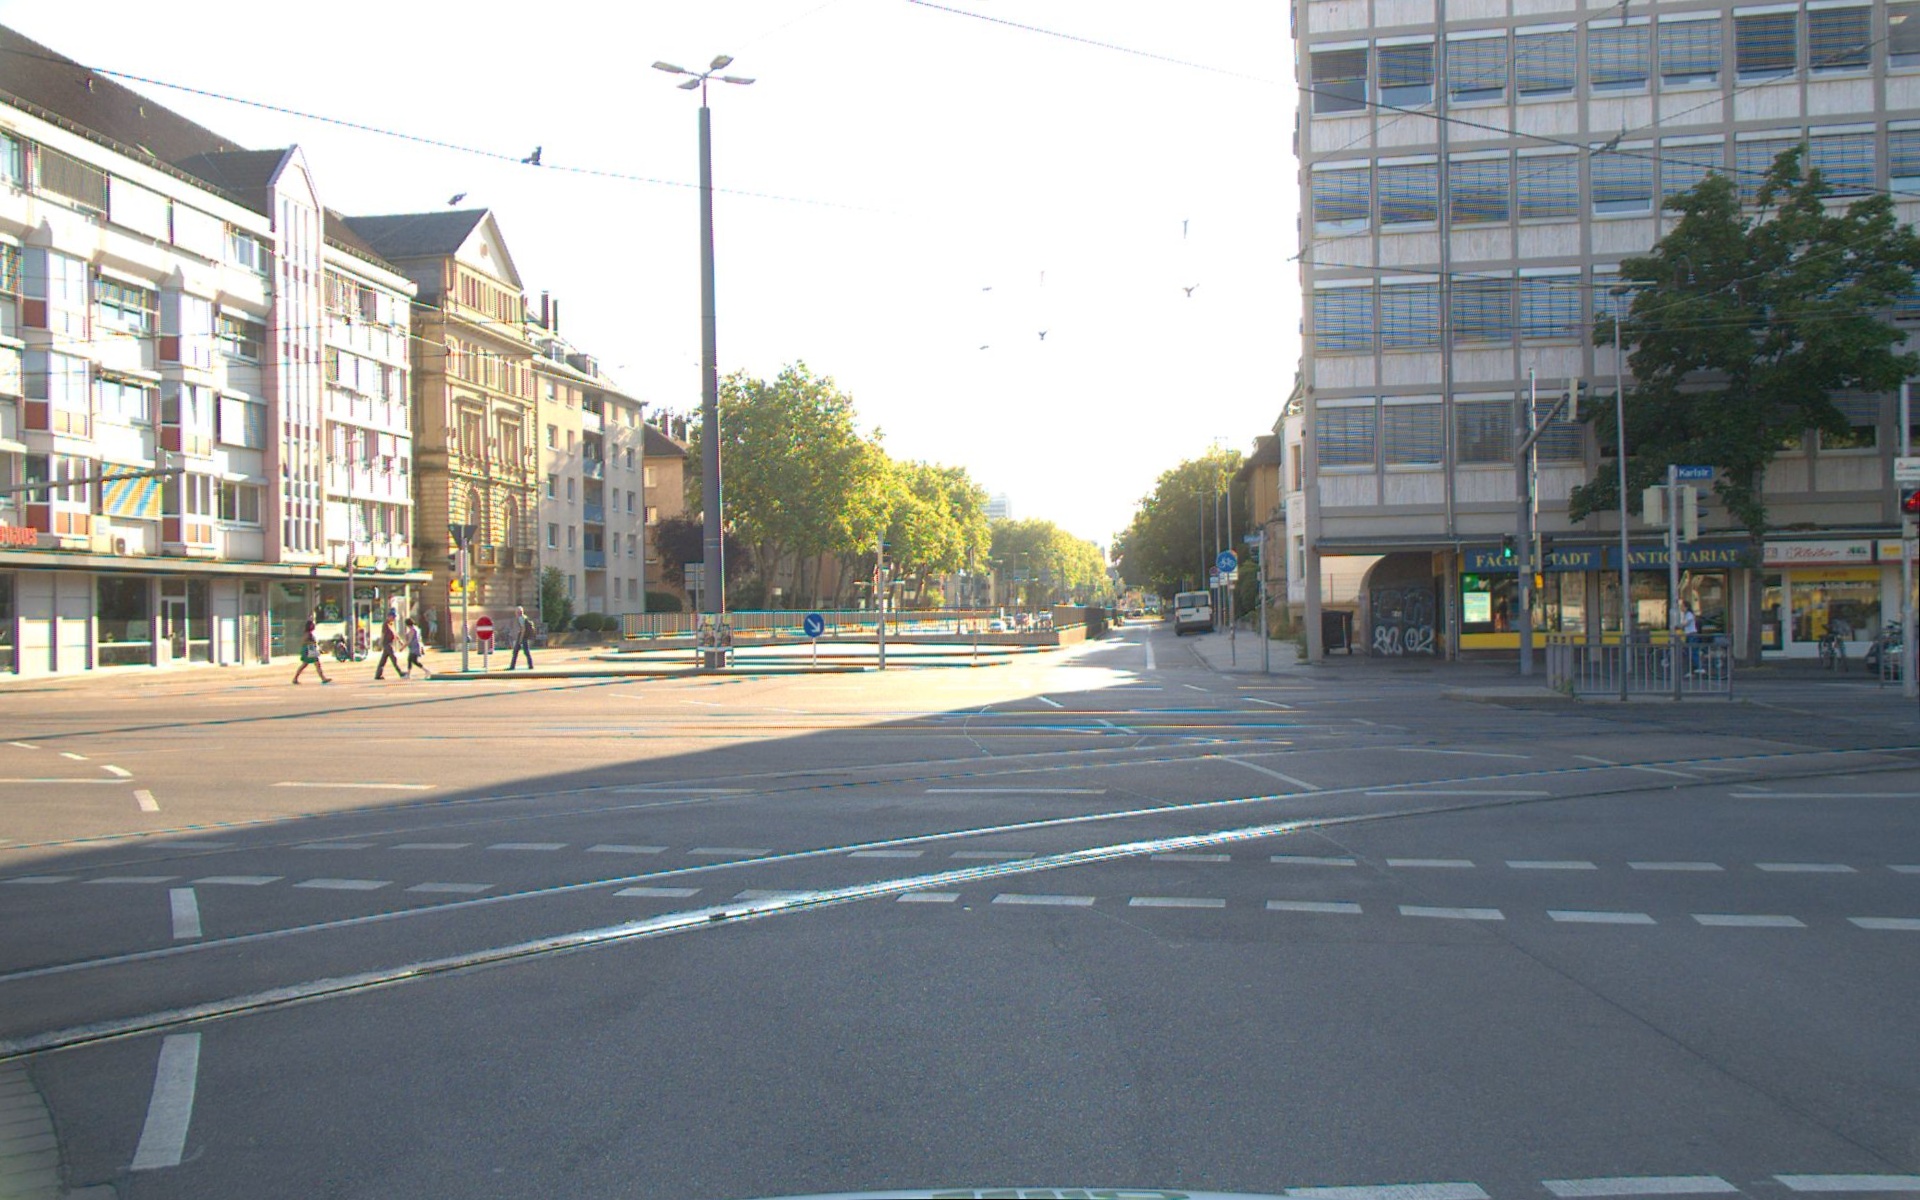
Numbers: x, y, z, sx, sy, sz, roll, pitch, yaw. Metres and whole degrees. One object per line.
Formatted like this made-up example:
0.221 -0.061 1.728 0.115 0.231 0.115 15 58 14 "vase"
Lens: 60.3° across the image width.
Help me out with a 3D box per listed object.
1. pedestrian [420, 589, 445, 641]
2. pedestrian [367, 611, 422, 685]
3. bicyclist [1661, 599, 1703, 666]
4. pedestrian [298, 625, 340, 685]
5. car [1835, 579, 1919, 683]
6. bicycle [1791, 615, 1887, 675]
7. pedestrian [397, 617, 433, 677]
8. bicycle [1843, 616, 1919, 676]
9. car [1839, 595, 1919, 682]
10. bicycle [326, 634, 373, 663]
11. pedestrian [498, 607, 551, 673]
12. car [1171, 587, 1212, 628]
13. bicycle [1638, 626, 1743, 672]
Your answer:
-24.938 0.726 78.201 0.908 2.440 0.960 1 -1 -4 "pedestrian"
-15.046 1.266 44.018 1.169 1.916 0.857 0 2 2 "pedestrian"
15.798 0.705 36.198 0.665 1.449 0.671 0 -1 5 "bicyclist"
-16.159 1.382 41.735 0.690 1.479 0.856 0 -1 2 "pedestrian"
16.642 0.516 26.878 3.902 1.646 1.845 0 -1 11 "car"
19.552 0.980 36.876 0.734 1.163 2.641 0 2 0 "bicycle"
-14.019 1.208 42.541 0.842 1.491 0.681 1 -6 -23 "pedestrian"
20.721 0.999 36.797 0.734 1.163 2.641 0 2 0 "bicycle"
19.538 0.752 32.134 3.980 1.646 1.845 0 -1 11 "car"
-24.347 1.924 65.948 0.442 1.089 2.091 0 -1 23 "bicycle"
-11.842 1.081 44.986 1.169 1.761 0.856 0 -1 2 "pedestrian"
12.956 0.420 92.532 2.237 2.210 4.837 0 -1 8 "car"
15.958 1.063 36.171 1.981 0.957 0.671 0 -1 5 "bicycle"
